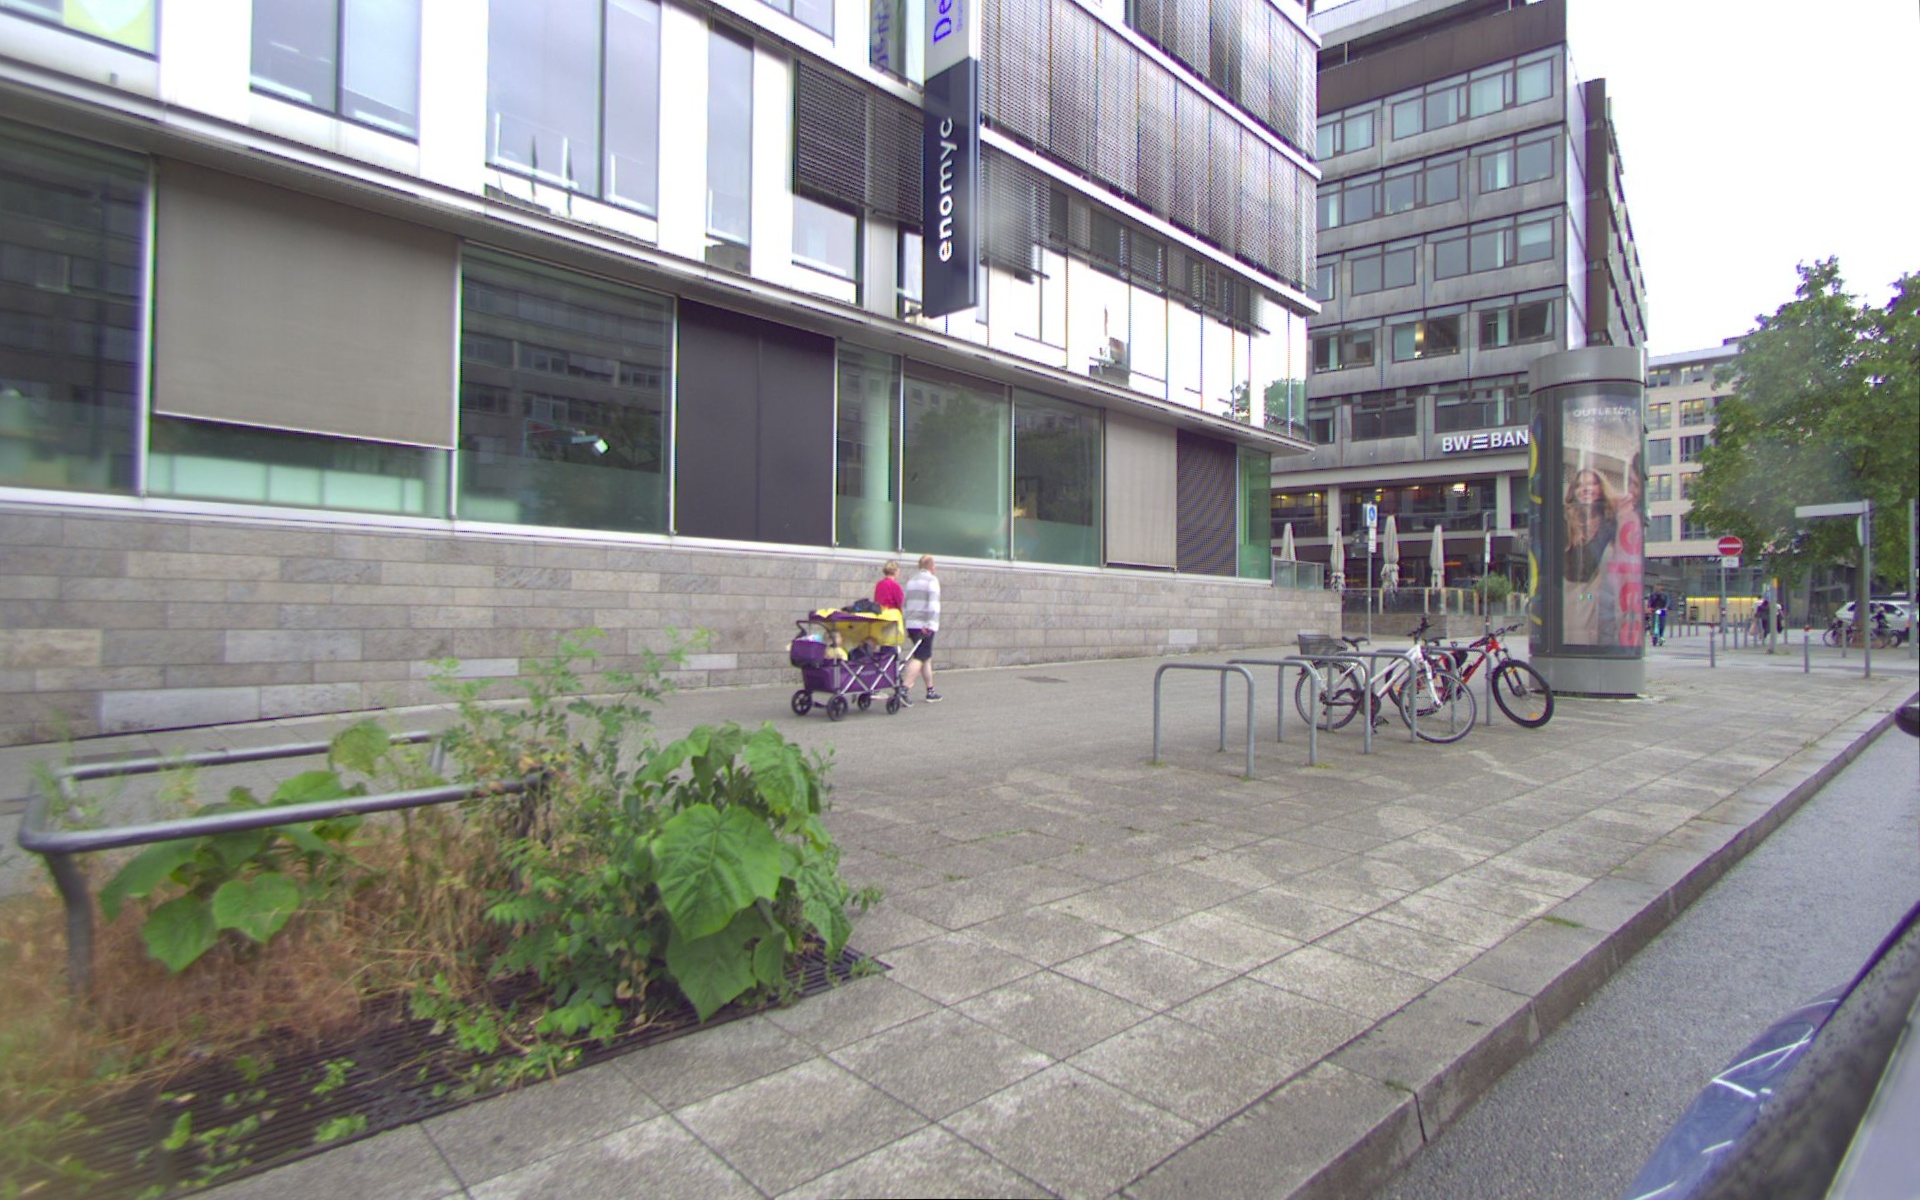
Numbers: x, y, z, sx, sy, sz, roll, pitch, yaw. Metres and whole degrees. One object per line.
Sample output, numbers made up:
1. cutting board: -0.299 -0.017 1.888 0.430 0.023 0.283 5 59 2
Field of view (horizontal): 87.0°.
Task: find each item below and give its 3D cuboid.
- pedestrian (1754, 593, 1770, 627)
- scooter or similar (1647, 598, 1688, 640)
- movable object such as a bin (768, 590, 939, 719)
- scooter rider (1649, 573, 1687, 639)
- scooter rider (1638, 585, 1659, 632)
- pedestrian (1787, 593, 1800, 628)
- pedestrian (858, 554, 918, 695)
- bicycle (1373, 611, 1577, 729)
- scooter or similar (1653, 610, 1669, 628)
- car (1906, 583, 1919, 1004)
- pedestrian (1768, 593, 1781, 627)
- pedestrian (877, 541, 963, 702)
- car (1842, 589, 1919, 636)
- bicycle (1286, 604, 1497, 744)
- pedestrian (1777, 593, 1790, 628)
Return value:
1. pedestrian: 40.427 0.497 50.989 0.538 1.723 0.551 0 0 -43
2. scooter or similar: 22.470 0.583 32.125 1.311 1.322 0.779 0 0 -41
3. movable object such as a bin: -1.136 0.542 11.095 0.802 1.281 1.760 1 1 44
4. scooter rider: 22.470 0.180 32.121 0.908 2.047 0.779 0 -1 -41
5. scooter rider: 30.309 0.358 44.521 0.626 2.051 0.841 0 -1 44
6. pedestrian: 41.265 0.501 50.115 0.488 1.723 0.451 0 0 -43
7. pedestrian: -0.903 0.297 12.735 0.484 1.720 0.570 1 1 44
8. bicycle: 5.581 0.712 11.060 0.658 1.124 1.873 1 0 -43
9. scooter or similar: 30.656 0.818 44.258 0.407 0.782 1.256 0 0 43
10. car: 5.332 0.687 4.357 3.647 1.529 1.592 0 0 -43
11. pedestrian: 40.769 0.498 50.663 0.538 1.723 0.451 0 0 -43
12. pedestrian: -0.484 0.240 12.200 0.722 1.853 0.735 1 1 44
13. car: 38.919 0.496 41.167 1.959 1.835 4.218 -1 -1 -10
14. bicycle: 4.195 0.668 9.924 1.789 1.222 0.660 1 0 40
15. pedestrian: 40.966 0.500 50.352 0.488 1.723 0.451 0 0 -43
